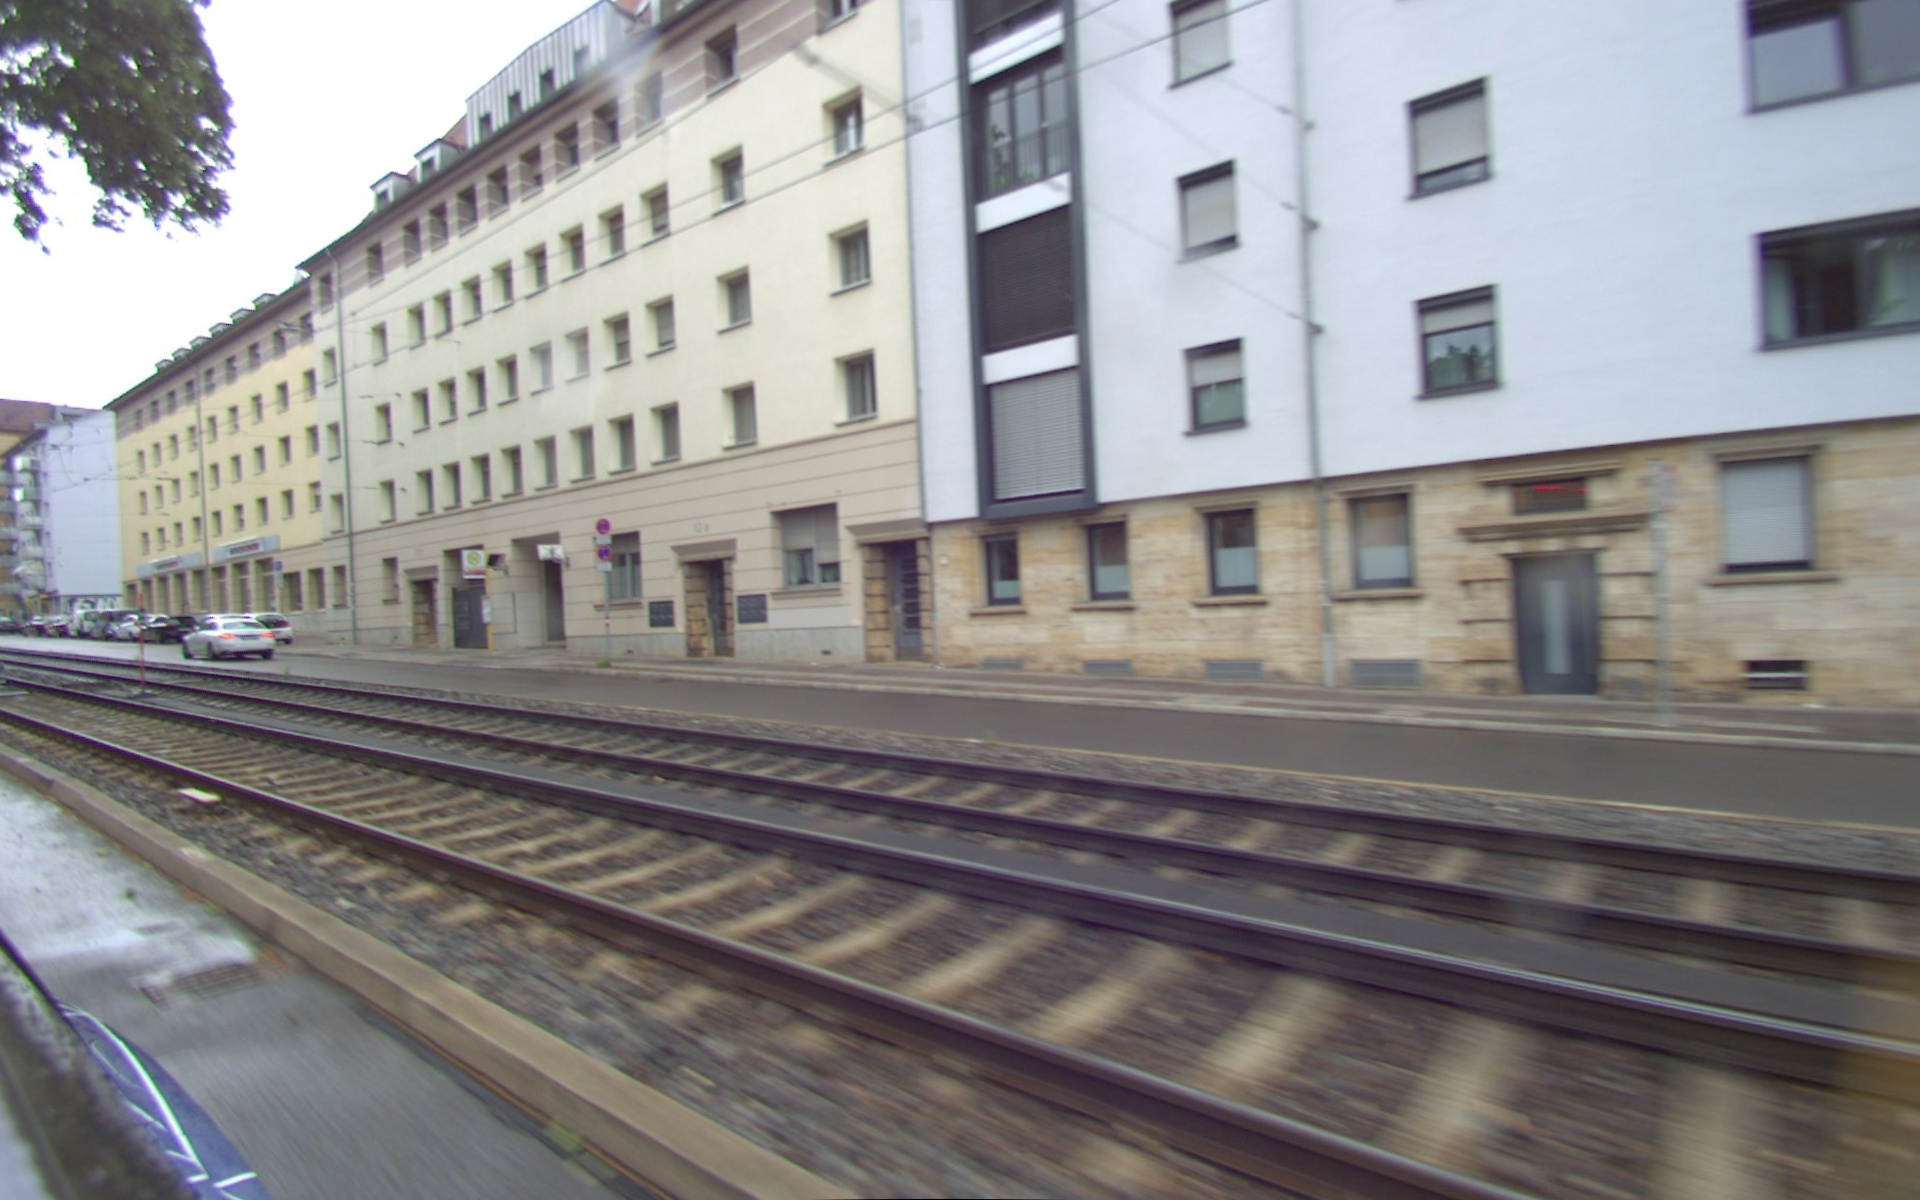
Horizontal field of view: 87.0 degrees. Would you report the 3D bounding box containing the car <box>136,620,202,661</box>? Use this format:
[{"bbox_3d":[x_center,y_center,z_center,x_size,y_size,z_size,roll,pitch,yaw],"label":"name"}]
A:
[{"bbox_3d":[-40.754,2.057,52.113,4.293,1.975,1.708,-1,0,38],"label":"car"}]

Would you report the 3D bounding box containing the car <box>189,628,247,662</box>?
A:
[{"bbox_3d":[-35.013,2.114,47.758,3.184,1.495,1.311,-1,0,36],"label":"car"}]

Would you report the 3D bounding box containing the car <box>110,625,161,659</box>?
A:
[{"bbox_3d":[-45.121,2.257,55.352,3.399,1.766,1.361,-1,0,36],"label":"car"}]

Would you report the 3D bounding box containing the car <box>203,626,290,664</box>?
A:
[{"bbox_3d":[-31.825,1.987,45.117,3.992,1.554,2.007,-1,0,36],"label":"car"}]

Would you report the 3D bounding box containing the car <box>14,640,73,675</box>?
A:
[{"bbox_3d":[-58.611,3.665,64.699,4.218,2.029,2.007,-1,0,36],"label":"car"}]

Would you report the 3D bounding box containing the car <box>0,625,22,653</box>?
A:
[{"bbox_3d":[-73.291,2.980,77.036,4.218,2.029,2.007,-1,0,36],"label":"car"}]

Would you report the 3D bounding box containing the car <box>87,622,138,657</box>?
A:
[{"bbox_3d":[-48.731,2.219,58.176,4.036,1.897,1.538,-1,0,39],"label":"car"}]

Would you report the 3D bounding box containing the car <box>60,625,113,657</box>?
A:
[{"bbox_3d":[-53.671,2.502,62.176,3.584,1.822,1.707,-1,0,36],"label":"car"}]

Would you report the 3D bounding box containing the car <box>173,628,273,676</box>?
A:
[{"bbox_3d":[-26.093,1.792,35.771,5.012,1.548,1.670,-2,-1,39],"label":"car"}]
